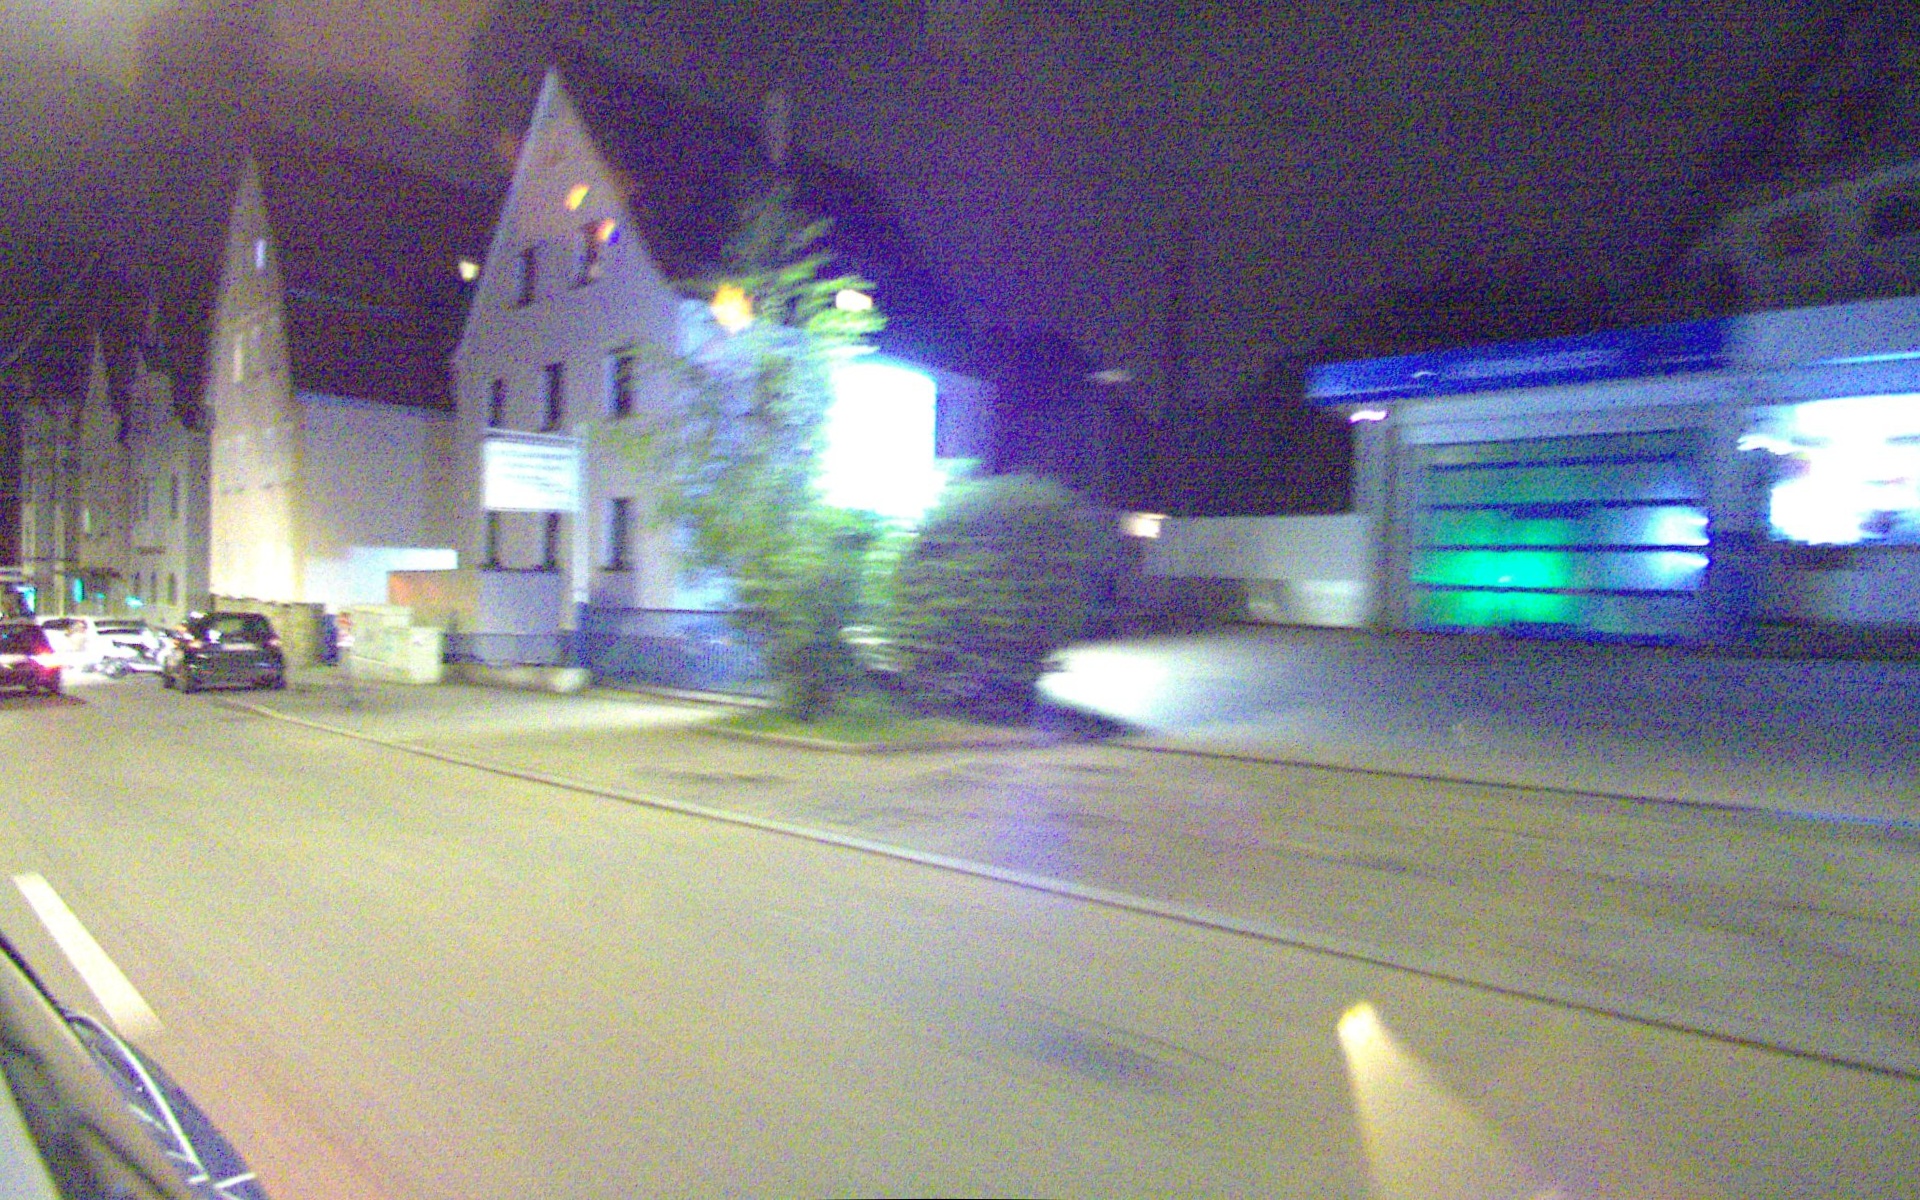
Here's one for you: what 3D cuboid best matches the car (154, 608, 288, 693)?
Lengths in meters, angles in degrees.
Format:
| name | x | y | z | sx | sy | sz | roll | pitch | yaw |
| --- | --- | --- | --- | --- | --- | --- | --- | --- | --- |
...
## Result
| name | x | y | z | sx | sy | sz | roll | pitch | yaw |
| --- | --- | --- | --- | --- | --- | --- | --- | --- | --- |
| car | -14.507 | 0.931 | 19.834 | 2.765 | 1.509 | 1.621 | 0 | 0 | 43 |

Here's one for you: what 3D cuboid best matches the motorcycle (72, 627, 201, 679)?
| name | x | y | z | sx | sy | sz | roll | pitch | yaw |
| --- | --- | --- | --- | --- | --- | --- | --- | --- | --- |
| motorcycle | -18.873 | 1.195 | 23.243 | 2.171 | 1.139 | 0.718 | 0 | -1 | -16 |

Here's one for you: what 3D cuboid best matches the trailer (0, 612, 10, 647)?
| name | x | y | z | sx | sy | sz | roll | pitch | yaw |
| --- | --- | --- | --- | --- | --- | --- | --- | --- | --- |
| trailer | -47.146 | 1.421 | 48.975 | 1.619 | 1.652 | 3.442 | -1 | 1 | -44 |

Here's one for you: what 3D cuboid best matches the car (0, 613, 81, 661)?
| name | x | y | z | sx | sy | sz | roll | pitch | yaw |
| --- | --- | --- | --- | --- | --- | --- | --- | --- | --- |
| car | -32.576 | 1.251 | 35.627 | 4.277 | 1.503 | 1.844 | 0 | 1 | 40 |

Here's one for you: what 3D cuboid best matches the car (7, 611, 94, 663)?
| name | x | y | z | sx | sy | sz | roll | pitch | yaw |
| --- | --- | --- | --- | --- | --- | --- | --- | --- | --- |
| car | -29.357 | 1.136 | 32.637 | 3.778 | 1.503 | 1.605 | 0 | 1 | 40 |

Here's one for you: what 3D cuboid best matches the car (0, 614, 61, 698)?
| name | x | y | z | sx | sy | sz | roll | pitch | yaw |
| --- | --- | --- | --- | --- | --- | --- | --- | --- | --- |
| car | -17.868 | 0.980 | 18.489 | 3.867 | 1.433 | 1.629 | -1 | -1 | 40 |

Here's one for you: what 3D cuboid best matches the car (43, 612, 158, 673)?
| name | x | y | z | sx | sy | sz | roll | pitch | yaw |
| --- | --- | --- | --- | --- | --- | --- | --- | --- | --- |
| car | -23.231 | 1.116 | 27.314 | 4.225 | 1.503 | 1.686 | -1 | -2 | 40 |

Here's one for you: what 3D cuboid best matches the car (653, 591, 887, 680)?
| name | x | y | z | sx | sy | sz | roll | pitch | yaw |
| --- | --- | --- | --- | --- | --- | --- | --- | --- | --- |
| car | -3.584 | 0.592 | 19.641 | 1.873 | 1.516 | 4.180 | 0 | 1 | 43 |

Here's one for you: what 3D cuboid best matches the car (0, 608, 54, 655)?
| name | x | y | z | sx | sy | sz | roll | pitch | yaw |
| --- | --- | --- | --- | --- | --- | --- | --- | --- | --- |
| car | -38.387 | 1.252 | 41.126 | 4.000 | 1.763 | 1.972 | 0 | 1 | 43 |

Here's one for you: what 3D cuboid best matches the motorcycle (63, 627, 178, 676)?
| name | x | y | z | sx | sy | sz | roll | pitch | yaw |
| --- | --- | --- | --- | --- | --- | --- | --- | --- | --- |
| motorcycle | -20.351 | 1.248 | 24.554 | 2.177 | 1.156 | 0.716 | 0 | -1 | -1 |
